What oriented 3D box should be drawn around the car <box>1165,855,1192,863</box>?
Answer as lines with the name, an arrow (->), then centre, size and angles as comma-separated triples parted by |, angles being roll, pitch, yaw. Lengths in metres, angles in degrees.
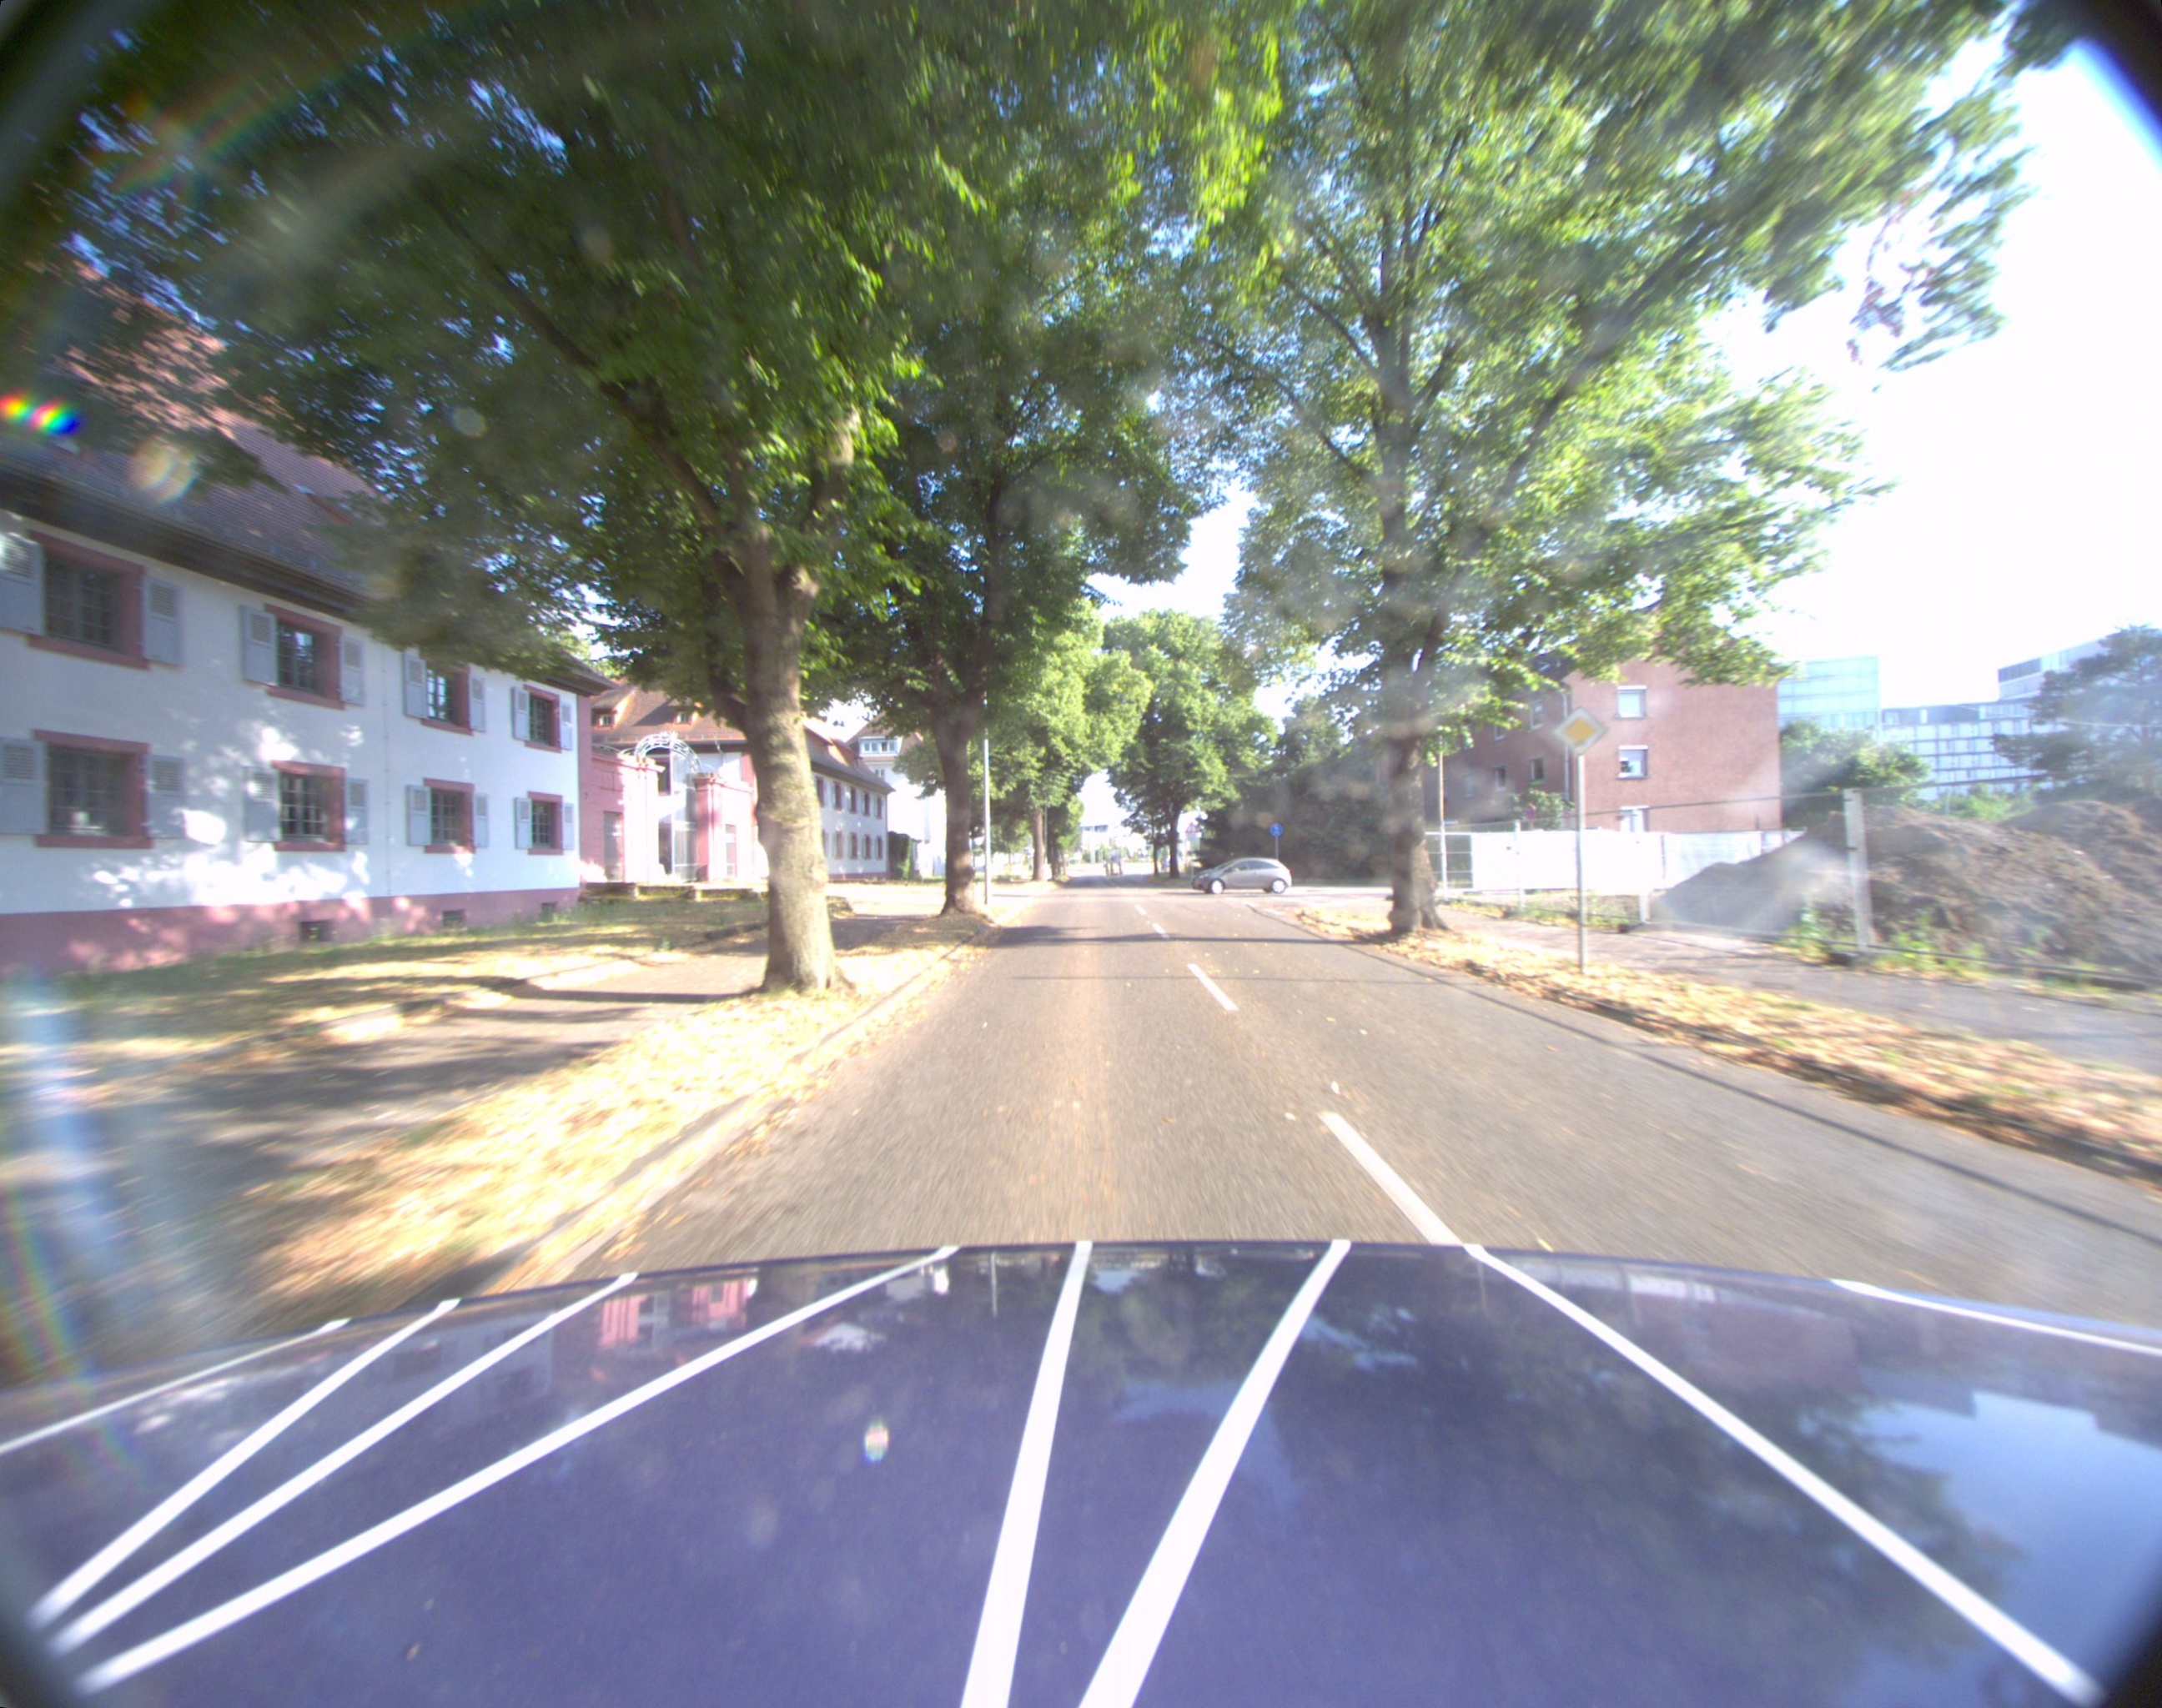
car -> 18.517, 0.857, 144.066 | 4.591, 1.376, 2.092 | -1, 0, -13

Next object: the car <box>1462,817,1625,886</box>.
car -> 19.450, -0.152, 32.235 | 5.317, 2.457, 2.167 | 2, 8, 6

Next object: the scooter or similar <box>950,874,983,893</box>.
scooter or similar -> -5.713, 1.468, 37.963 | 1.226, 0.546, 1.064 | 16, 6, 12

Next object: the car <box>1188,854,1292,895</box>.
car -> 6.459, 0.830, 31.132 | 3.854, 1.464, 1.651 | -2, 0, 0
